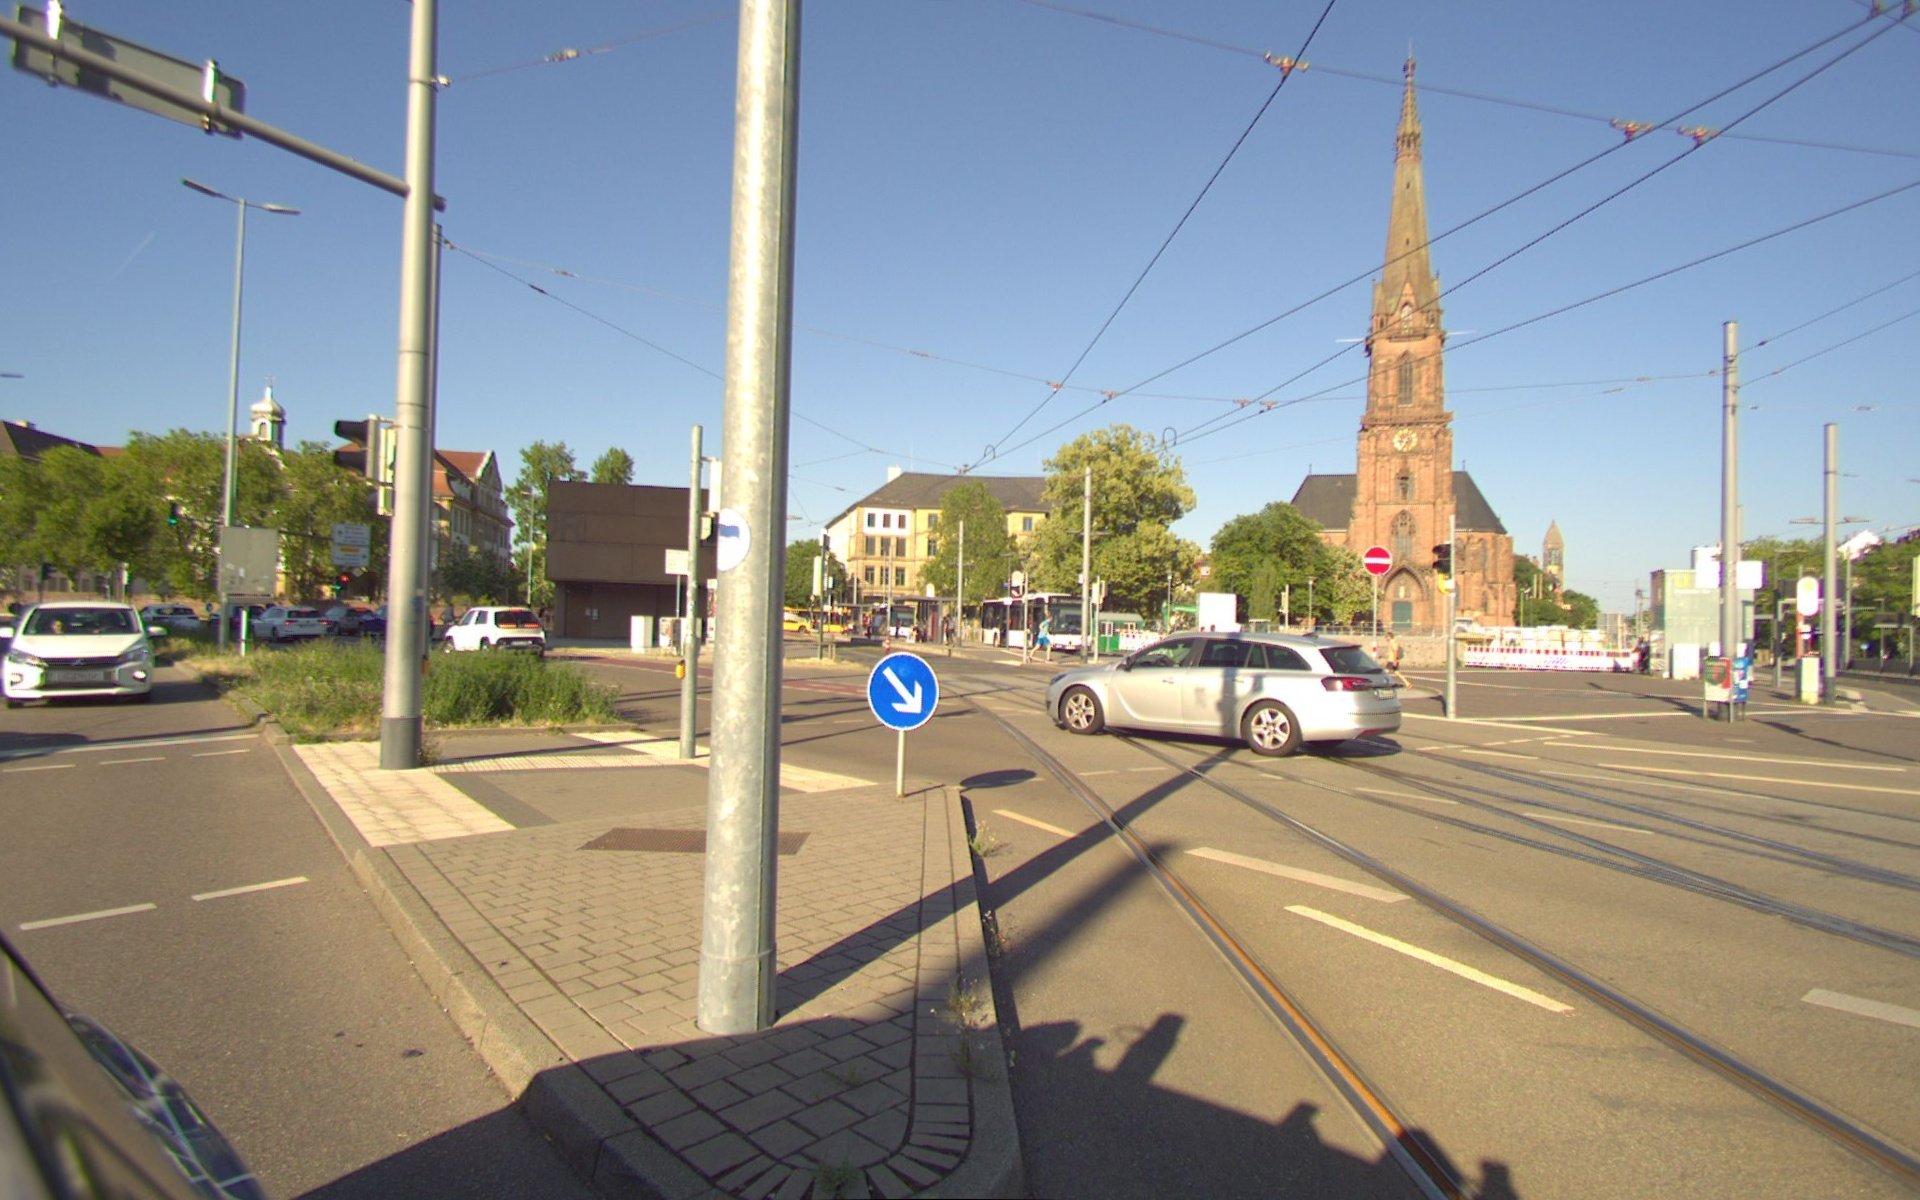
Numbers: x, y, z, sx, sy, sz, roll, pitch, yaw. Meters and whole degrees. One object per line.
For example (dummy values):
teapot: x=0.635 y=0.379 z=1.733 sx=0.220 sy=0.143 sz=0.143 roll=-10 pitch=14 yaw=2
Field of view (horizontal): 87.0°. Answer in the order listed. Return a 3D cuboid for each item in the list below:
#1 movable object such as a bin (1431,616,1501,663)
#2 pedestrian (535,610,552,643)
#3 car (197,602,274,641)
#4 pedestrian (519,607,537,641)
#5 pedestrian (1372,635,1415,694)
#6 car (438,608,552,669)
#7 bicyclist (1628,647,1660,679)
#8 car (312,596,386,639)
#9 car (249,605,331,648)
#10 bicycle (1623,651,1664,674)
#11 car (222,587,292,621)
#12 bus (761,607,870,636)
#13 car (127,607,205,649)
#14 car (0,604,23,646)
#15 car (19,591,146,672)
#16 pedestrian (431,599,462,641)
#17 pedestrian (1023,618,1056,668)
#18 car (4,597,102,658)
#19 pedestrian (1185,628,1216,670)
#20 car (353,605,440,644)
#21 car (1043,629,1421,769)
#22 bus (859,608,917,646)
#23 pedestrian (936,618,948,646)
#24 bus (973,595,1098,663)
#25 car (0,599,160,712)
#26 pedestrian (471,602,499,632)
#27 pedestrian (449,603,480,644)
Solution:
movable object such as a bin: x=29.932 y=2.279 z=60.021 sx=2.610 sy=2.545 sz=5.146 roll=-1 pitch=0 yaw=14
pedestrian: x=-22.819 y=1.462 z=55.452 sx=0.791 sy=1.782 sz=0.976 roll=-1 pitch=0 yaw=-18
car: x=-32.743 y=0.954 z=45.723 sx=3.866 sy=1.642 sz=1.835 roll=0 pitch=1 yaw=39
pedestrian: x=-23.322 y=1.298 z=54.602 sx=0.791 sy=1.782 sz=0.976 roll=-1 pitch=0 yaw=-18
pedestrian: x=12.935 y=1.919 z=30.228 sx=1.047 sy=1.699 sz=0.725 roll=-1 pitch=0 yaw=16
car: x=-13.570 y=1.073 z=29.447 sx=3.871 sy=1.643 sz=1.697 roll=0 pitch=-1 yaw=44
bicyclist: x=32.188 y=2.954 z=47.626 sx=0.887 sy=1.354 sz=0.818 roll=3 pitch=4 yaw=-34
car: x=-30.182 y=0.853 z=49.937 sx=3.998 sy=2.029 sz=1.973 roll=0 pitch=-2 yaw=41
car: x=-27.684 y=1.039 z=41.780 sx=3.868 sy=1.642 sz=1.834 roll=0 pitch=1 yaw=40
bicycle: x=32.183 y=2.954 z=47.627 sx=1.968 sy=0.948 sz=0.818 roll=3 pitch=4 yaw=-34
car: x=-35.188 y=0.188 z=50.637 sx=3.866 sy=1.642 sz=1.835 roll=0 pitch=1 yaw=39
bus: x=-17.260 y=2.583 z=120.909 sx=12.506 sy=3.218 sz=3.245 roll=-1 pitch=0 yaw=7
car: x=-33.672 y=1.133 z=42.888 sx=3.867 sy=1.642 sz=1.834 roll=0 pitch=1 yaw=40
car: x=-40.510 y=0.994 z=42.211 sx=1.970 sy=1.689 sz=4.287 roll=4 pitch=-2 yaw=-44
car: x=-20.341 y=0.706 z=23.398 sx=1.970 sy=1.689 sz=4.287 roll=3 pitch=-2 yaw=-43
pedestrian: x=-22.305 y=0.857 z=43.923 sx=0.959 sy=1.782 sz=0.797 roll=-1 pitch=0 yaw=29
pedestrian: x=2.959 y=1.575 z=37.598 sx=0.802 sy=1.782 sz=1.167 roll=-1 pitch=0 yaw=32
car: x=-27.448 y=0.802 z=30.582 sx=1.970 sy=1.689 sz=4.286 roll=4 pitch=-3 yaw=-44
pedestrian: x=10.090 y=2.027 z=42.441 sx=1.038 sy=1.699 sz=0.731 roll=-1 pitch=0 yaw=-29
car: x=-25.746 y=1.101 z=46.186 sx=4.027 sy=1.642 sz=1.843 roll=0 pitch=1 yaw=34
car: x=3.398 y=1.155 z=13.202 sx=4.431 sy=1.434 sz=1.821 roll=0 pitch=-2 yaw=42
bus: x=-6.924 y=2.453 z=95.075 sx=3.197 sy=3.218 sz=12.695 roll=-1 pitch=0 yaw=-14
pedestrian: x=-1.093 y=1.933 z=61.350 sx=0.492 sy=1.714 sz=0.501 roll=-1 pitch=0 yaw=-38
bus: x=3.754 y=1.387 z=54.841 sx=2.794 sy=3.218 sz=12.695 roll=-1 pitch=0 yaw=-14
car: x=-13.333 y=0.750 z=15.398 sx=1.695 sy=1.504 sz=3.877 roll=1 pitch=-1 yaw=-40
pedestrian: x=-24.979 y=0.891 z=53.202 sx=1.175 sy=1.579 sz=0.796 roll=-1 pitch=0 yaw=29
pedestrian: x=-21.852 y=1.018 z=44.654 sx=0.969 sy=1.782 sz=0.797 roll=-1 pitch=0 yaw=29
